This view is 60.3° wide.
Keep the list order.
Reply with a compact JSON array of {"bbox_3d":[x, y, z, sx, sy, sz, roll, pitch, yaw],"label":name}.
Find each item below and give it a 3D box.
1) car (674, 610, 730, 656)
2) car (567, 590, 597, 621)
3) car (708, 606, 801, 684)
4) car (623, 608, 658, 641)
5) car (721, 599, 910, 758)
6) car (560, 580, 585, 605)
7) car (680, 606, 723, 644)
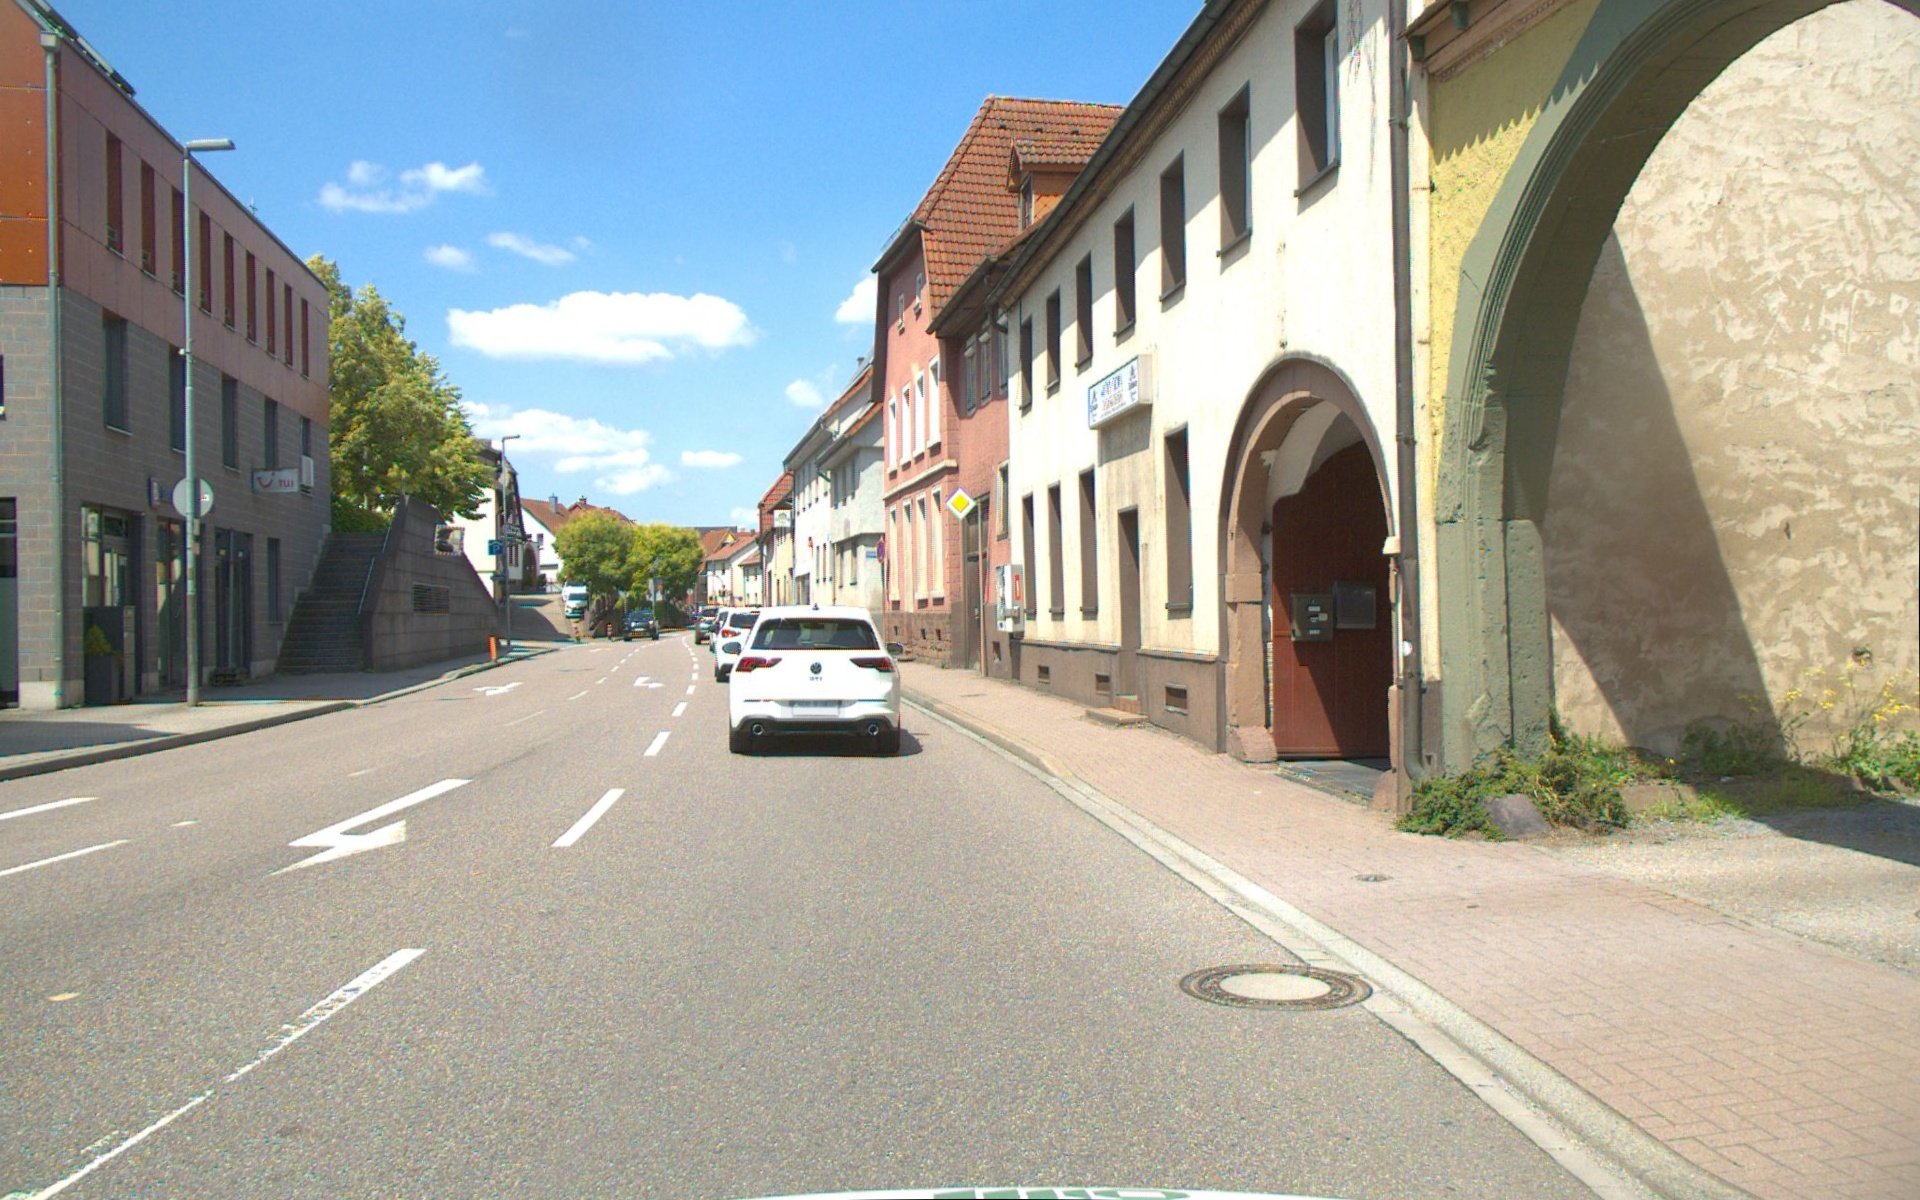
[{"bbox_3d":[-8.796,1.119,56.249,1.775,1.493,3.990,1,-1,-10],"label":"car"},{"bbox_3d":[-23.658,0.332,103.486,1.663,1.569,3.848,0,5,-11],"label":"car"},{"bbox_3d":[-4.254,0.905,34.231,1.773,1.493,3.993,1,-1,-7],"label":"car"},{"bbox_3d":[-17.166,1.303,89.075,1.638,1.686,4.010,-1,0,-8],"label":"car"},{"bbox_3d":[-1.511,0.783,17.770,1.772,1.493,3.996,1,-1,-4],"label":"car"},{"bbox_3d":[-26.959,-0.541,115.123,1.548,1.385,3.848,0,5,-11],"label":"car"},{"bbox_3d":[-11.134,1.048,71.332,1.742,1.565,3.993,0,0,-8],"label":"car"}]
